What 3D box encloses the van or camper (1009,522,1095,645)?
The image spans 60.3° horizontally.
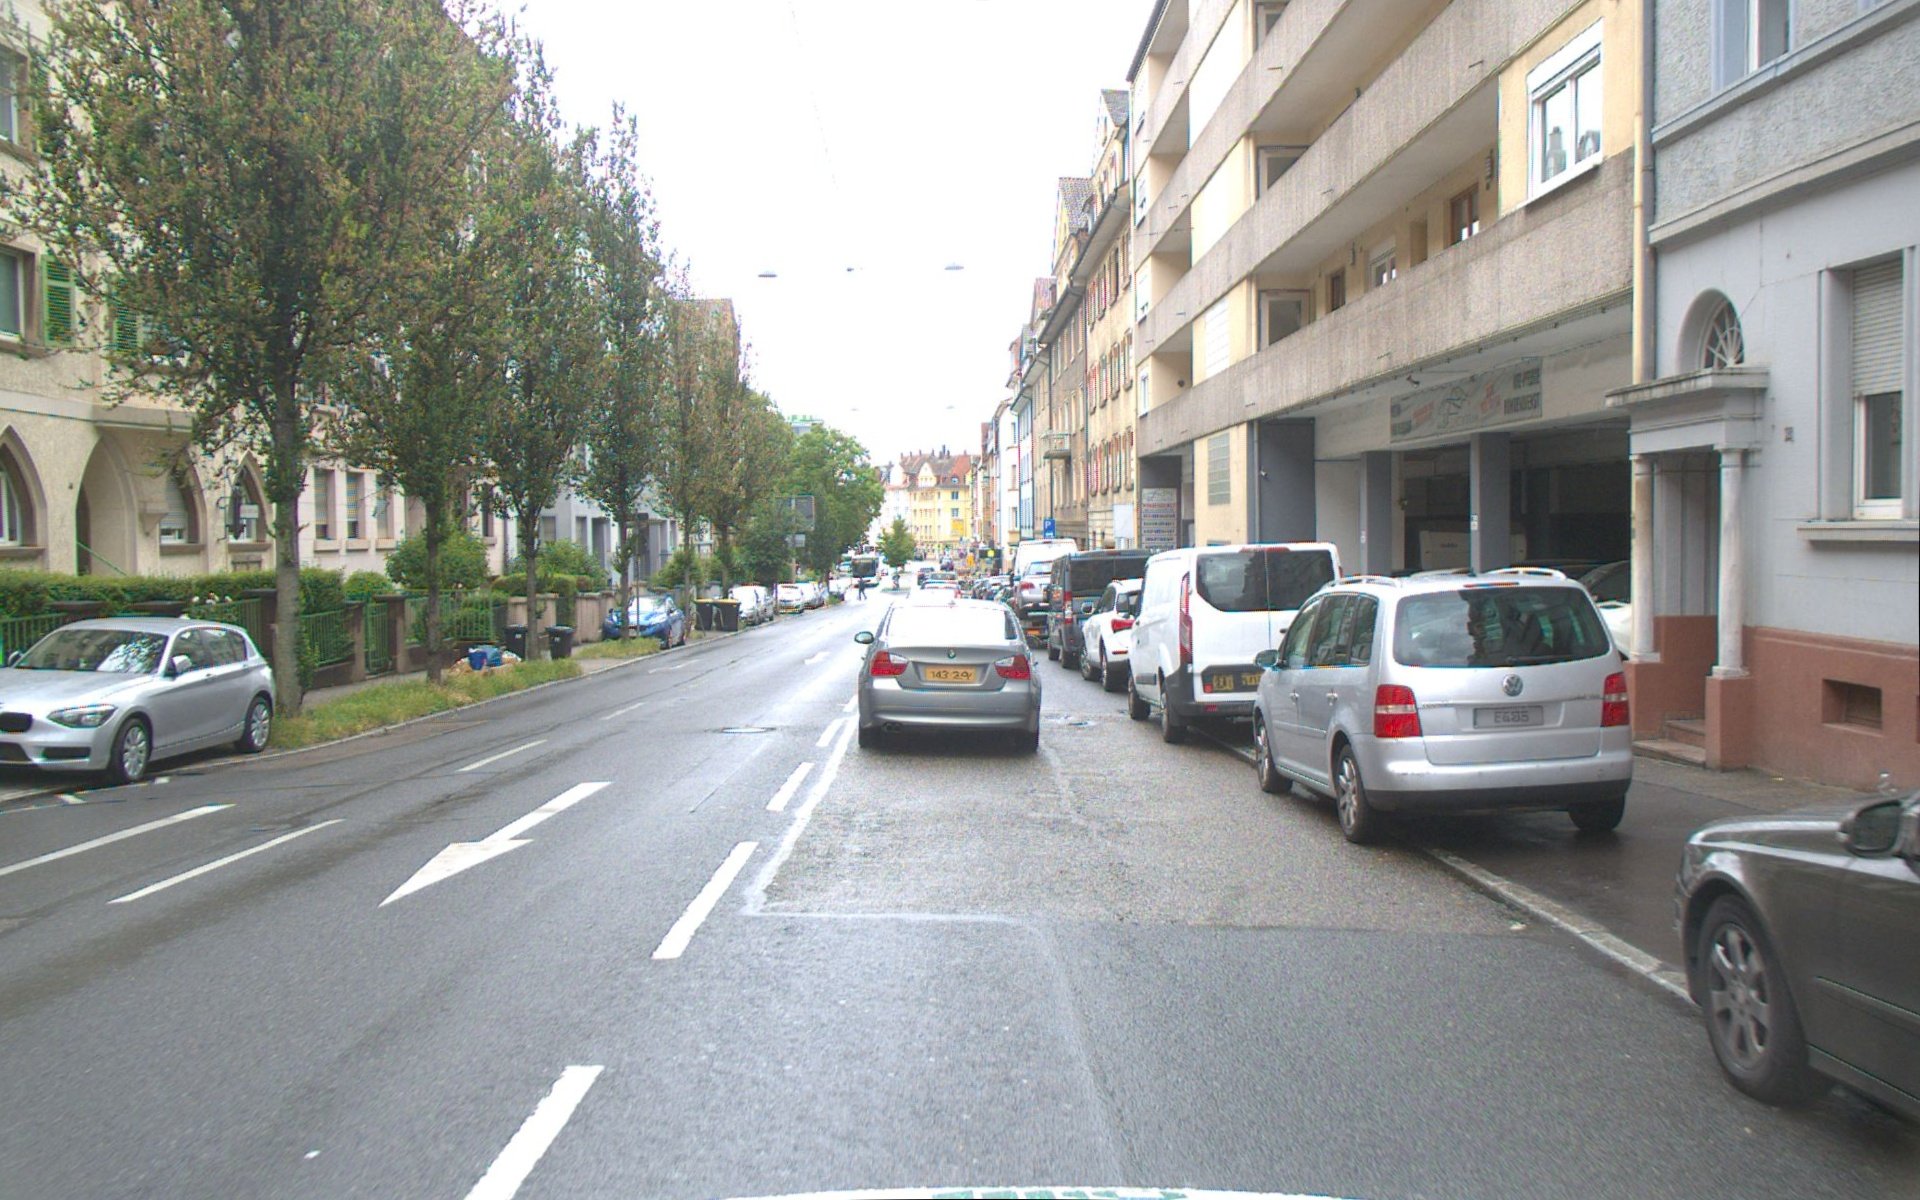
[{"bbox_3d":[2.406,-0.431,43.659,1.991,2.918,6.888,2,1,3],"label":"van or camper"}]

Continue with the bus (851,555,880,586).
[{"bbox_3d":[-9.902,-3.076,174.084,2.614,3.077,7.669,-2,1,-1],"label":"bus"}]

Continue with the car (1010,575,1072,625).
[{"bbox_3d":[2.534,0.001,52.544,1.663,1.509,3.792,1,0,-2],"label":"car"}]

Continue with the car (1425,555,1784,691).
[{"bbox_3d":[8.406,0.289,21.907,4.195,1.669,1.669,-1,2,12],"label":"car"}]

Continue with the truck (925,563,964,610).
[{"bbox_3d":[-0.855,-0.734,90.073,1.991,2.455,4.825,1,0,-2],"label":"truck"}]

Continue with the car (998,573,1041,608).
[{"bbox_3d":[2.621,-0.406,73.803,1.663,1.509,3.974,1,0,-2],"label":"car"}]

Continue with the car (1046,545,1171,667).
[{"bbox_3d":[2.877,0.083,33.136,1.941,2.203,4.749,-2,1,-1],"label":"car"}]

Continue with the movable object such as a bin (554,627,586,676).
[{"bbox_3d":[-7.712,1.015,32.680,0.565,0.928,0.638,-2,0,-15],"label":"movable object such as a bin"}]

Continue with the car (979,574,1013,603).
[{"bbox_3d":[1.988,-0.620,91.531,1.663,1.509,3.974,1,0,-2],"label":"car"}]

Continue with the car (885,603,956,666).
[{"bbox_3d":[-0.944,0.813,41.005,1.647,1.453,3.741,1,0,0],"label":"car"}]

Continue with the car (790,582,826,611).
[{"bbox_3d":[-8.636,-0.199,94.124,1.656,1.550,3.736,-3,1,0],"label":"car"}]

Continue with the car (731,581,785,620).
[{"bbox_3d":[-8.758,0.001,71.920,1.790,1.550,3.736,-3,1,0],"label":"car"}]

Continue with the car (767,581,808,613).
[{"bbox_3d":[-9.037,-0.166,86.784,1.656,1.550,3.736,-3,1,0],"label":"car"}]

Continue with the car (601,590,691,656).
[{"bbox_3d":[-8.484,0.590,45.004,1.731,1.621,3.999,-3,1,-2],"label":"car"}]

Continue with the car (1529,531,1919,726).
[{"bbox_3d":[8.142,0.249,17.000,4.234,1.836,2.008,-1,2,17],"label":"car"}]

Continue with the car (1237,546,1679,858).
[{"bbox_3d":[3.222,0.563,11.638,1.691,1.699,4.287,-3,1,-1],"label":"car"}]

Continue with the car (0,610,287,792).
[{"bbox_3d":[-8.328,0.890,16.344,1.691,1.509,3.989,1,0,0],"label":"car"}]

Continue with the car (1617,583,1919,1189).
[{"bbox_3d":[3.371,0.723,3.660,1.861,1.504,4.798,-4,1,0],"label":"car"}]

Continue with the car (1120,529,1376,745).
[{"bbox_3d":[3.042,0.339,18.489,1.941,2.042,4.624,-2,1,-1],"label":"car"}]

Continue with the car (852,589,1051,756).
[{"bbox_3d":[-0.066,0.631,16.461,1.733,1.453,3.741,1,0,0],"label":"car"}]

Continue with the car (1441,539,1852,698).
[{"bbox_3d":[8.040,0.197,19.759,4.233,1.756,1.911,-1,2,12],"label":"car"}]

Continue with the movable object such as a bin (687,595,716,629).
[{"bbox_3d":[-9.197,0.433,58.836,0.883,1.189,0.895,0,0,-1],"label":"movable object such as a bin"}]

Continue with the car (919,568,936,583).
[{"bbox_3d":[-3.417,-2.581,173.784,1.663,1.509,3.792,-2,1,-2],"label":"car"}]

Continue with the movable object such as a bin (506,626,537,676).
[{"bbox_3d":[-8.633,1.001,32.558,0.565,0.928,0.638,-2,0,-15],"label":"movable object such as a bin"}]

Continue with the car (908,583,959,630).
[{"bbox_3d":[-0.908,0.197,55.775,1.663,1.509,3.792,1,0,-2],"label":"car"}]

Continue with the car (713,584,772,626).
[{"bbox_3d":[-8.712,0.187,66.391,1.790,1.550,3.736,-3,1,0],"label":"car"}]

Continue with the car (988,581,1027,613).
[{"bbox_3d":[2.322,-0.166,81.568,1.663,1.509,3.974,1,0,-2],"label":"car"}]

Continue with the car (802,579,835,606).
[{"bbox_3d":[-8.559,-0.482,100.286,1.656,1.550,3.736,-3,1,0],"label":"car"}]

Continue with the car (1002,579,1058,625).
[{"bbox_3d":[2.404,0.061,57.440,1.663,1.509,3.974,1,0,-2],"label":"car"}]

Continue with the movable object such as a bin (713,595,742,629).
[{"bbox_3d":[-8.269,0.437,58.841,0.916,1.189,0.909,0,0,-1],"label":"movable object such as a bin"}]

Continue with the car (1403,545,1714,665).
[{"bbox_3d":[8.897,0.065,24.905,4.195,1.669,1.669,-1,2,12],"label":"car"}]

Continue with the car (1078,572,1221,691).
[{"bbox_3d":[2.946,0.441,26.468,1.691,1.699,4.288,-2,1,-1],"label":"car"}]
